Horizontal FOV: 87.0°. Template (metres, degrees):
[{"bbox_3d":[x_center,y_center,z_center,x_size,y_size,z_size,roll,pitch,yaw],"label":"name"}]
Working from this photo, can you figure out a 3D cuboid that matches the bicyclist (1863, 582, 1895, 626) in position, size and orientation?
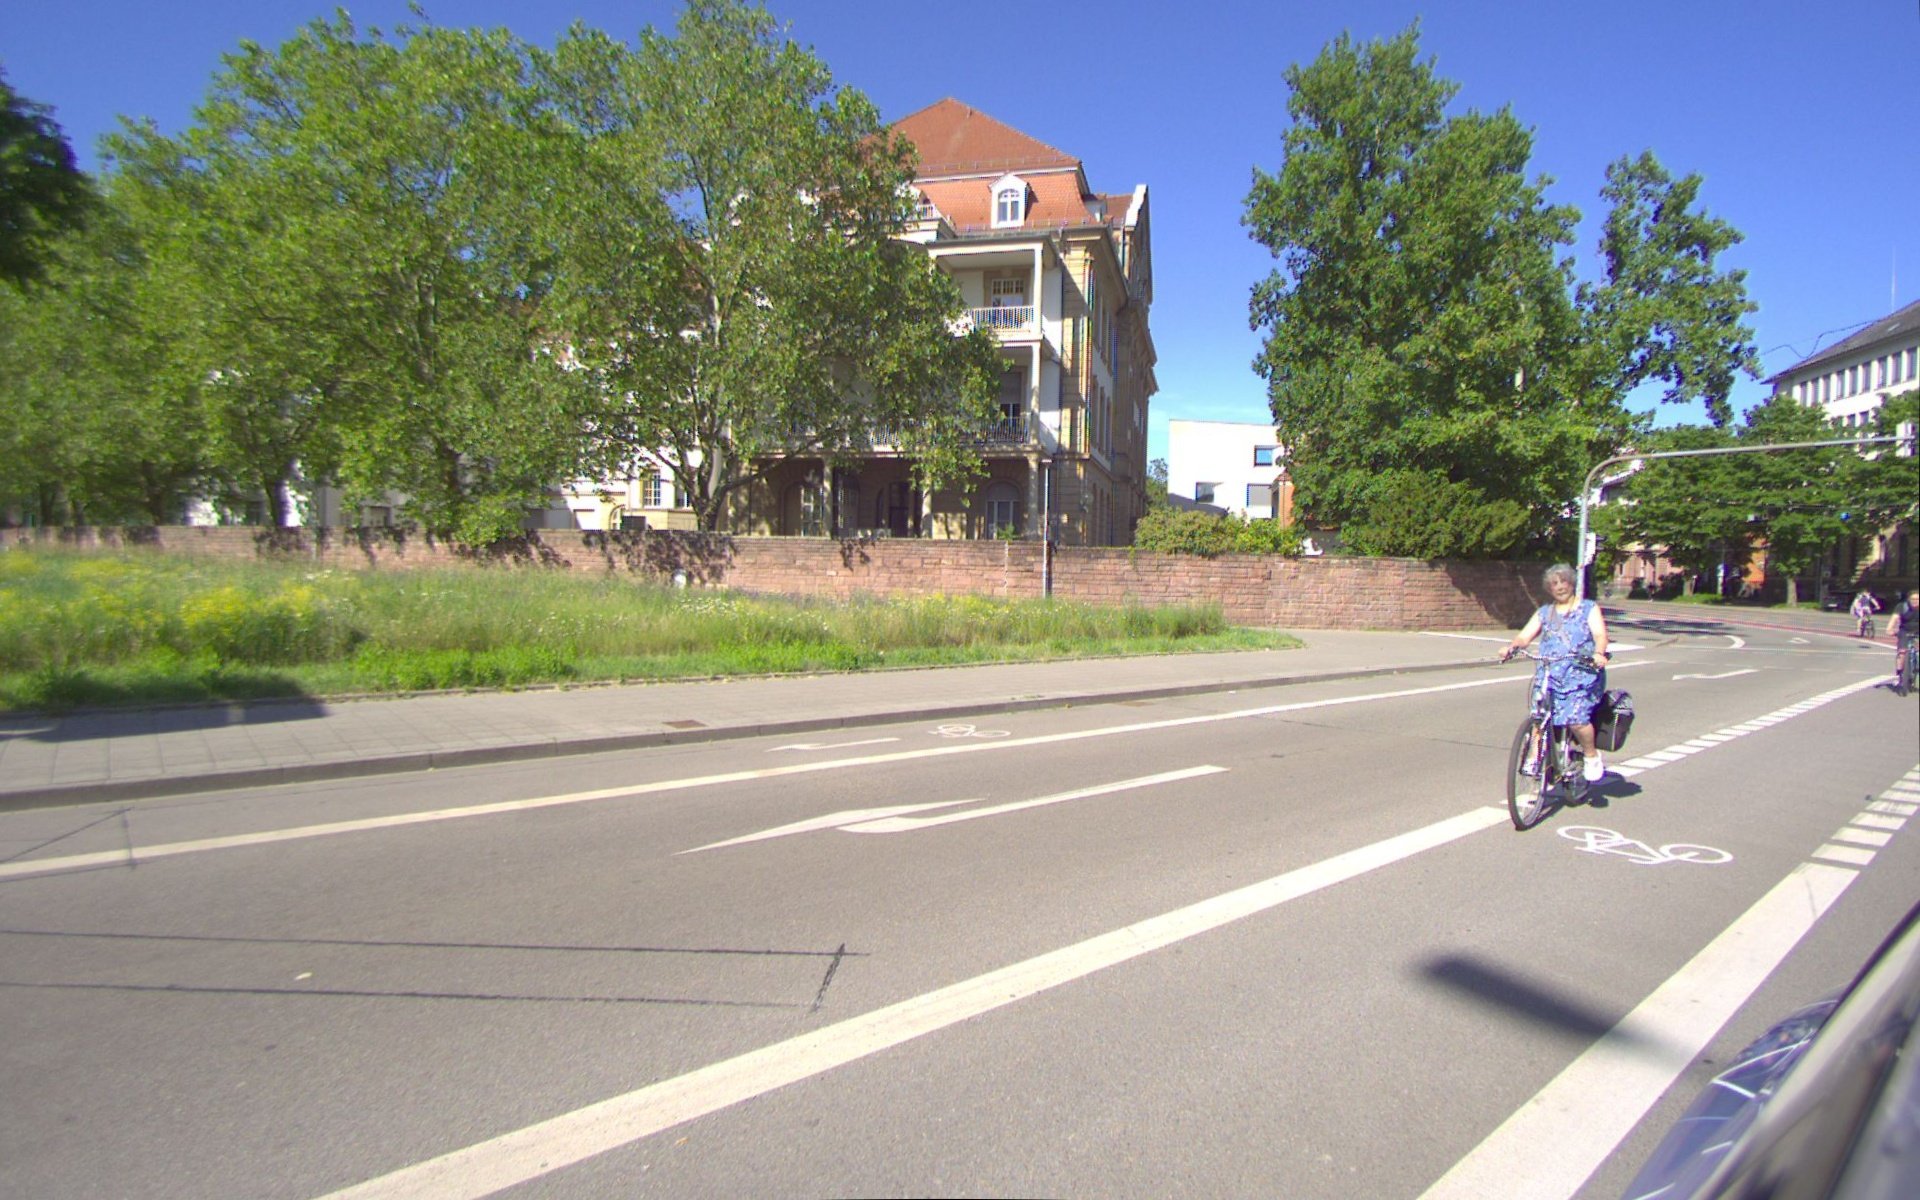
[{"bbox_3d":[33.833,0.137,37.262,0.904,1.571,0.777,0,1,-43],"label":"bicyclist"}]

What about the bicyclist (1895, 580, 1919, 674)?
[{"bbox_3d":[15.327,0.423,16.025,0.936,1.462,0.642,1,0,-41],"label":"bicyclist"}]

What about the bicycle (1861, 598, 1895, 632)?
[{"bbox_3d":[33.844,0.546,37.290,1.935,1.179,0.777,0,1,-43],"label":"bicycle"}]

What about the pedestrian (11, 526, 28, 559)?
[{"bbox_3d":[-47.481,-2.910,51.091,0.642,1.631,0.557,0,0,-42],"label":"pedestrian"}]

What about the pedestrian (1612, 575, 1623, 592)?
[{"bbox_3d":[61.768,-1.537,95.061,0.627,1.631,0.843,0,0,12],"label":"pedestrian"}]

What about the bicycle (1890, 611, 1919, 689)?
[{"bbox_3d":[15.336,0.770,16.051,1.837,1.180,0.642,0,0,-41],"label":"bicycle"}]

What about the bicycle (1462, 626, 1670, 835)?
[{"bbox_3d":[4.184,0.802,6.918,1.933,1.179,0.642,0,1,-41],"label":"bicycle"}]

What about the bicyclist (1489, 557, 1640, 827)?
[{"bbox_3d":[4.058,0.561,6.794,0.763,1.683,0.642,-1,2,-41],"label":"bicyclist"}]

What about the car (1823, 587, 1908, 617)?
[{"bbox_3d":[60.924,0.125,68.140,3.731,1.838,1.999,1,2,3],"label":"car"}]
